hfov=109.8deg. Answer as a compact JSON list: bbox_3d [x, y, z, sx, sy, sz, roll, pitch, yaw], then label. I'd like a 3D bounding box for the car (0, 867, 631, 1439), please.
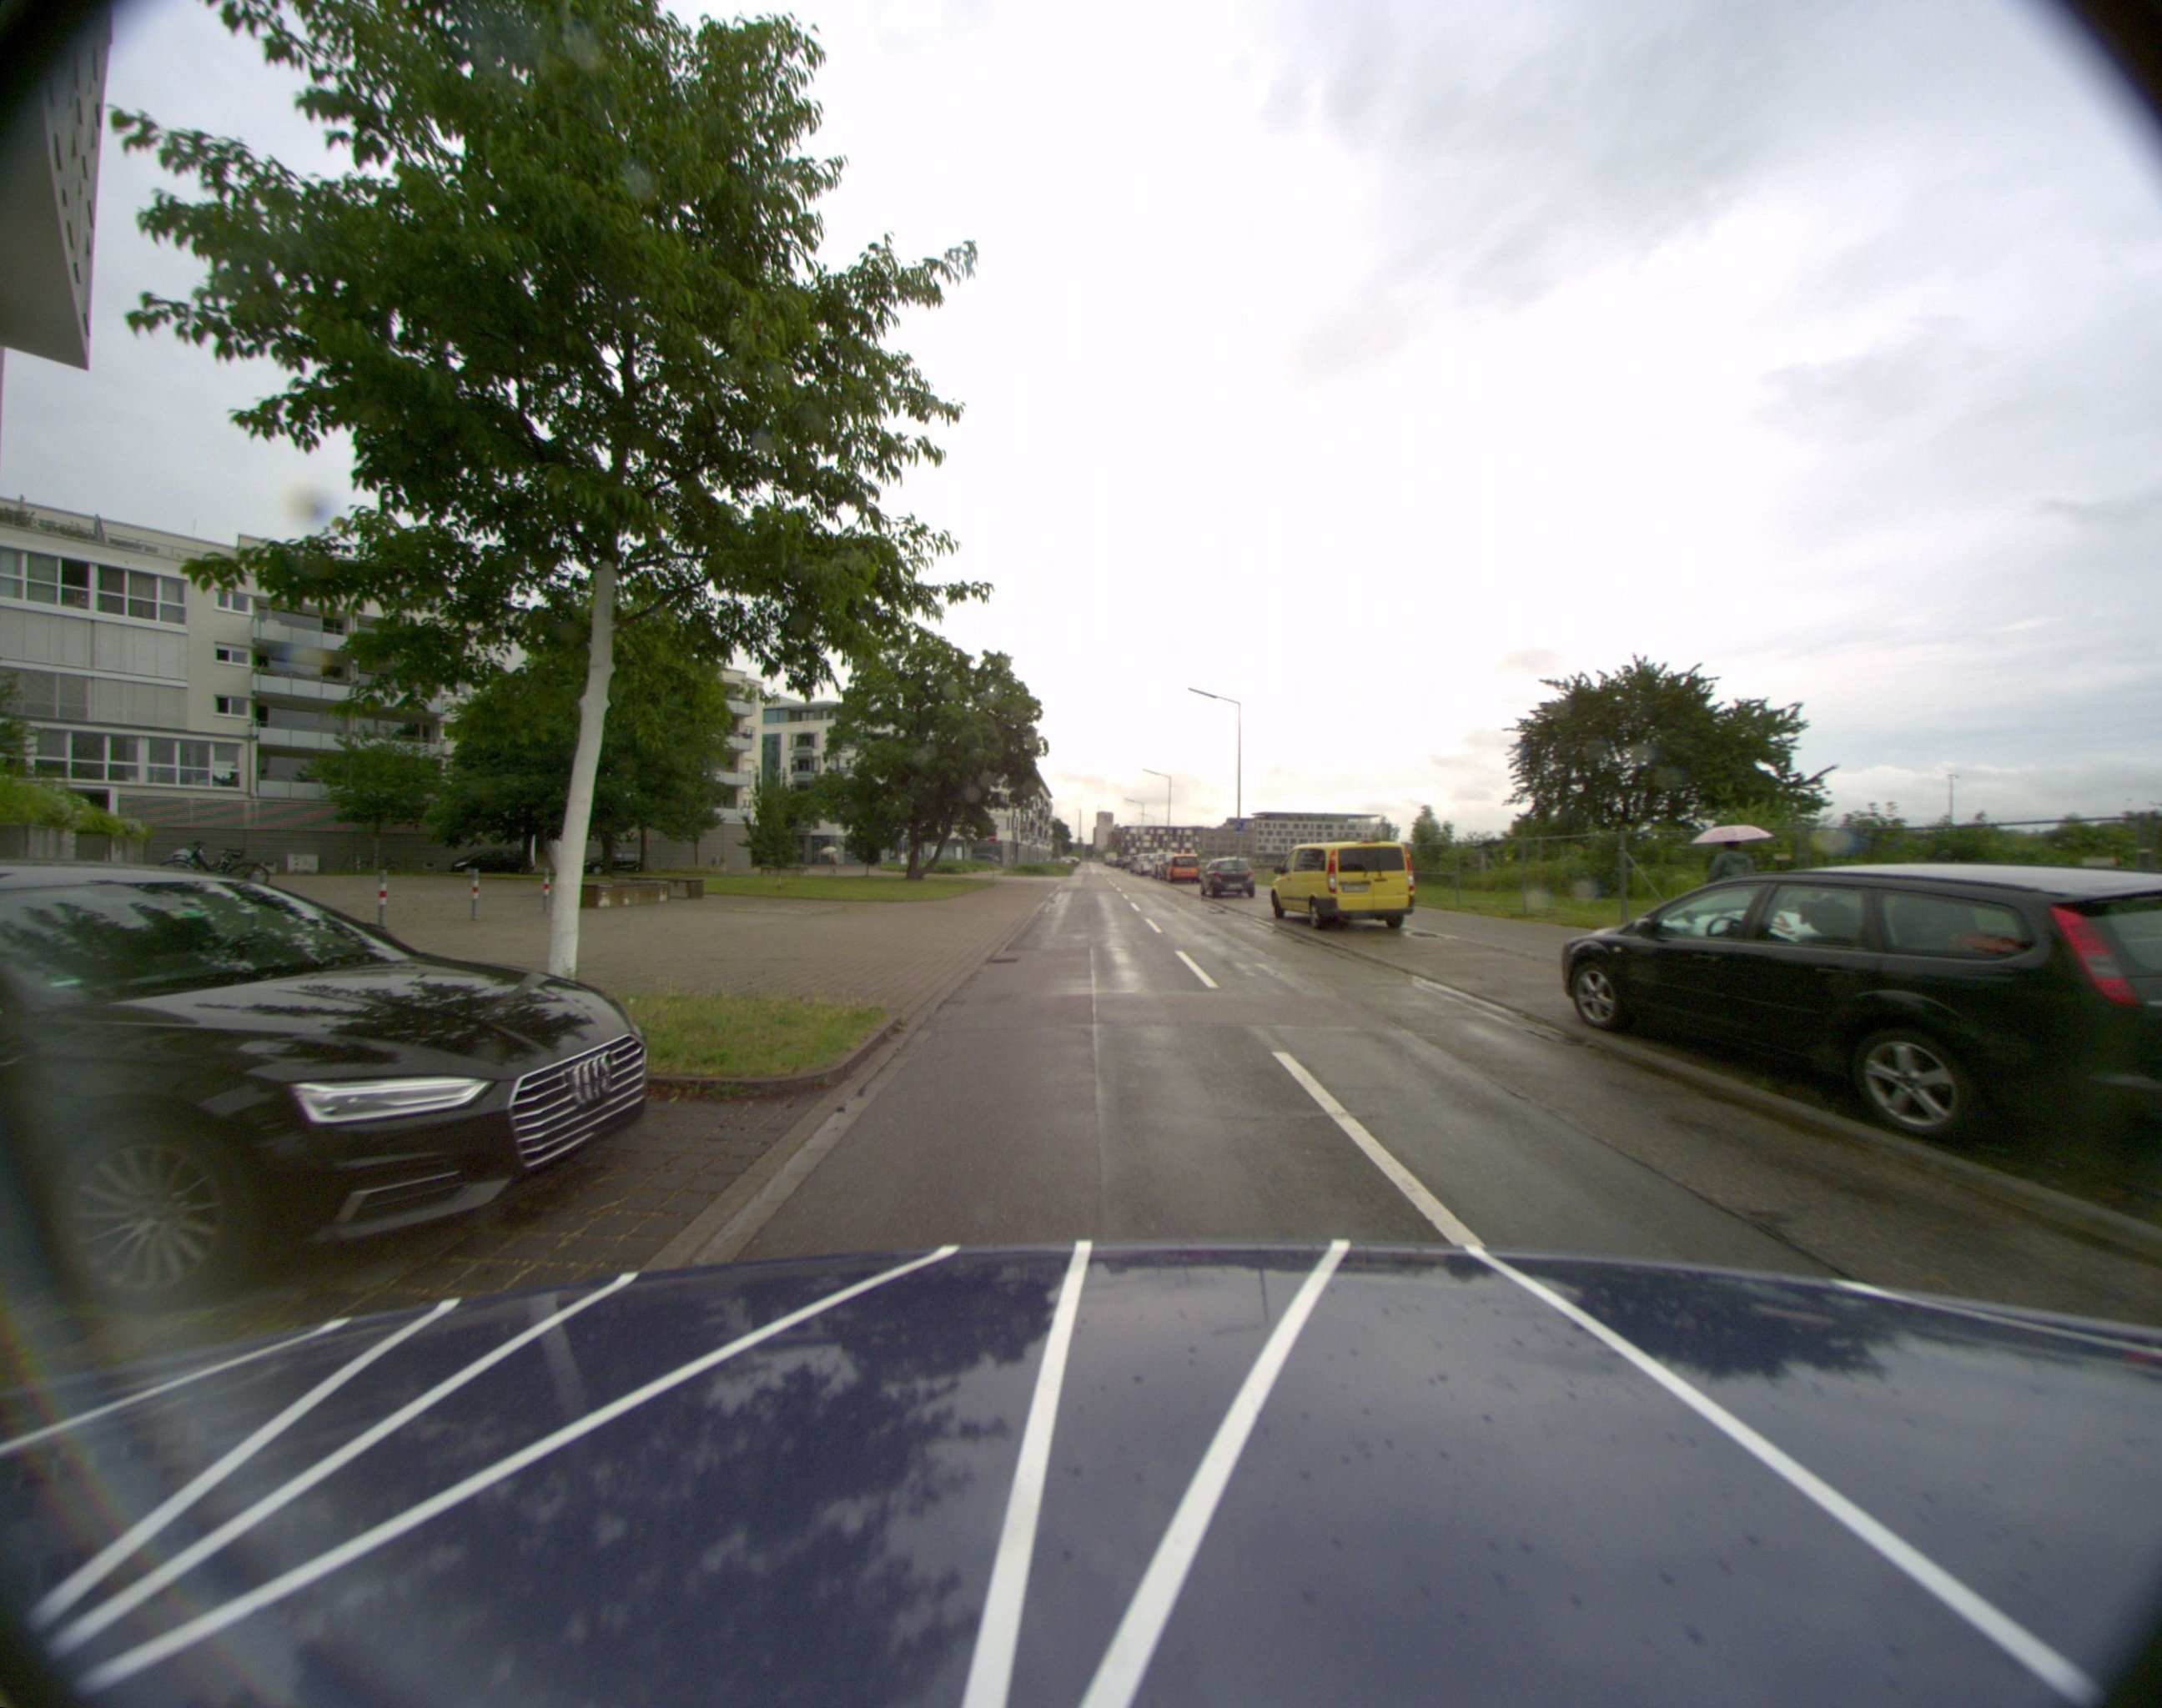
[{"bbox_3d":[-4.736,0.875,3.151,4.582,1.488,1.825,3,0,0],"label":"car"}]

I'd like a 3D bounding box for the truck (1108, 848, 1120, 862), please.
[{"bbox_3d":[7.492,0.266,174.590,2.442,3.050,6.700,-1,0,0],"label":"truck"}]

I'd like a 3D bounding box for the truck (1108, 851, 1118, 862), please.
[{"bbox_3d":[8.170,0.602,194.676,2.180,2.591,6.132,0,0,1],"label":"truck"}]

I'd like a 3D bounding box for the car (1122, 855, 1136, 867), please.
[{"bbox_3d":[6.814,1.014,108.354,1.852,1.552,4.152,-2,0,1],"label":"car"}]

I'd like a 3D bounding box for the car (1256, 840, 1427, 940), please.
[{"bbox_3d":[5.904,0.709,18.219,2.022,1.945,6.064,-1,0,0],"label":"car"}]

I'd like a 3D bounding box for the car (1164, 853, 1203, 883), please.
[{"bbox_3d":[6.337,0.834,47.383,1.944,1.757,4.332,1,0,2],"label":"car"}]

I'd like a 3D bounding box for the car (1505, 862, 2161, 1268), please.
[{"bbox_3d":[5.599,0.934,5.686,1.999,1.585,5.016,-2,1,0],"label":"car"}]

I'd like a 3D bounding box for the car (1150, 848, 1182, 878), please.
[{"bbox_3d":[6.642,0.714,59.854,1.947,2.223,5.557,1,0,0],"label":"car"}]

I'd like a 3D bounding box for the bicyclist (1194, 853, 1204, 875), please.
[{"bbox_3d":[9.908,0.863,64.052,0.700,1.819,1.008,0,0,1],"label":"bicyclist"}]

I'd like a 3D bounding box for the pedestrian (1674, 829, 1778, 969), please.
[{"bbox_3d":[9.646,0.650,11.406,0.744,2.002,0.980,0,0,1],"label":"pedestrian"}]

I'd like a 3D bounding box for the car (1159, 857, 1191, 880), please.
[{"bbox_3d":[6.471,0.992,52.792,1.688,1.493,4.892,1,0,0],"label":"car"}]

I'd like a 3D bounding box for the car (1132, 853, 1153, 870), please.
[{"bbox_3d":[6.714,0.807,83.658,1.961,1.890,4.995,0,0,1],"label":"car"}]

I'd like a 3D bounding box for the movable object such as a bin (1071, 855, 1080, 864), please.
[{"bbox_3d":[-0.933,0.938,134.572,1.499,1.484,1.155,3,0,1],"label":"movable object such as a bin"}]

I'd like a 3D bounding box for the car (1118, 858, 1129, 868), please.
[{"bbox_3d":[7.328,1.464,130.017,1.756,1.683,4.882,0,0,3],"label":"car"}]

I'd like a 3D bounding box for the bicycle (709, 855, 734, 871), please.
[{"bbox_3d":[-25.606,0.662,54.080,2.477,1.081,0.728,1,0,42],"label":"bicycle"}]

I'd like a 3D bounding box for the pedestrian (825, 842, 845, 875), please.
[{"bbox_3d":[-14.830,0.277,45.744,0.967,2.002,0.622,1,0,1],"label":"pedestrian"}]

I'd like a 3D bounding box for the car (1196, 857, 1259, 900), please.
[{"bbox_3d":[5.828,0.928,30.683,1.808,1.552,4.033,-2,0,1],"label":"car"}]

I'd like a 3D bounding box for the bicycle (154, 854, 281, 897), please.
[{"bbox_3d":[-21.686,0.523,19.125,0.723,1.027,2.078,1,1,40],"label":"bicycle"}]

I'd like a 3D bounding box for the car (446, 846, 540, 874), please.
[{"bbox_3d":[-34.024,0.318,44.014,1.729,1.539,4.009,1,0,40],"label":"car"}]

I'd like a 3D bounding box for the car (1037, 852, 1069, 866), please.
[{"bbox_3d":[-3.653,0.686,99.233,4.100,1.614,1.966,3,0,-1],"label":"car"}]

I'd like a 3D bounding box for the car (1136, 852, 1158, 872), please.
[{"bbox_3d":[6.643,0.796,76.783,1.899,2.002,5.258,1,0,1],"label":"car"}]

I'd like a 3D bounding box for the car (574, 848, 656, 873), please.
[{"bbox_3d":[-29.926,0.413,48.910,1.729,1.539,4.130,1,0,40],"label":"car"}]

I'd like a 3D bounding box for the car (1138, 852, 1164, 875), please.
[{"bbox_3d":[6.471,0.837,70.497,1.964,2.046,5.274,0,0,1],"label":"car"}]

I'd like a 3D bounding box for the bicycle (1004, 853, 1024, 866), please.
[{"bbox_3d":[-7.874,0.650,89.161,2.189,1.514,0.631,2,1,21],"label":"bicycle"}]
